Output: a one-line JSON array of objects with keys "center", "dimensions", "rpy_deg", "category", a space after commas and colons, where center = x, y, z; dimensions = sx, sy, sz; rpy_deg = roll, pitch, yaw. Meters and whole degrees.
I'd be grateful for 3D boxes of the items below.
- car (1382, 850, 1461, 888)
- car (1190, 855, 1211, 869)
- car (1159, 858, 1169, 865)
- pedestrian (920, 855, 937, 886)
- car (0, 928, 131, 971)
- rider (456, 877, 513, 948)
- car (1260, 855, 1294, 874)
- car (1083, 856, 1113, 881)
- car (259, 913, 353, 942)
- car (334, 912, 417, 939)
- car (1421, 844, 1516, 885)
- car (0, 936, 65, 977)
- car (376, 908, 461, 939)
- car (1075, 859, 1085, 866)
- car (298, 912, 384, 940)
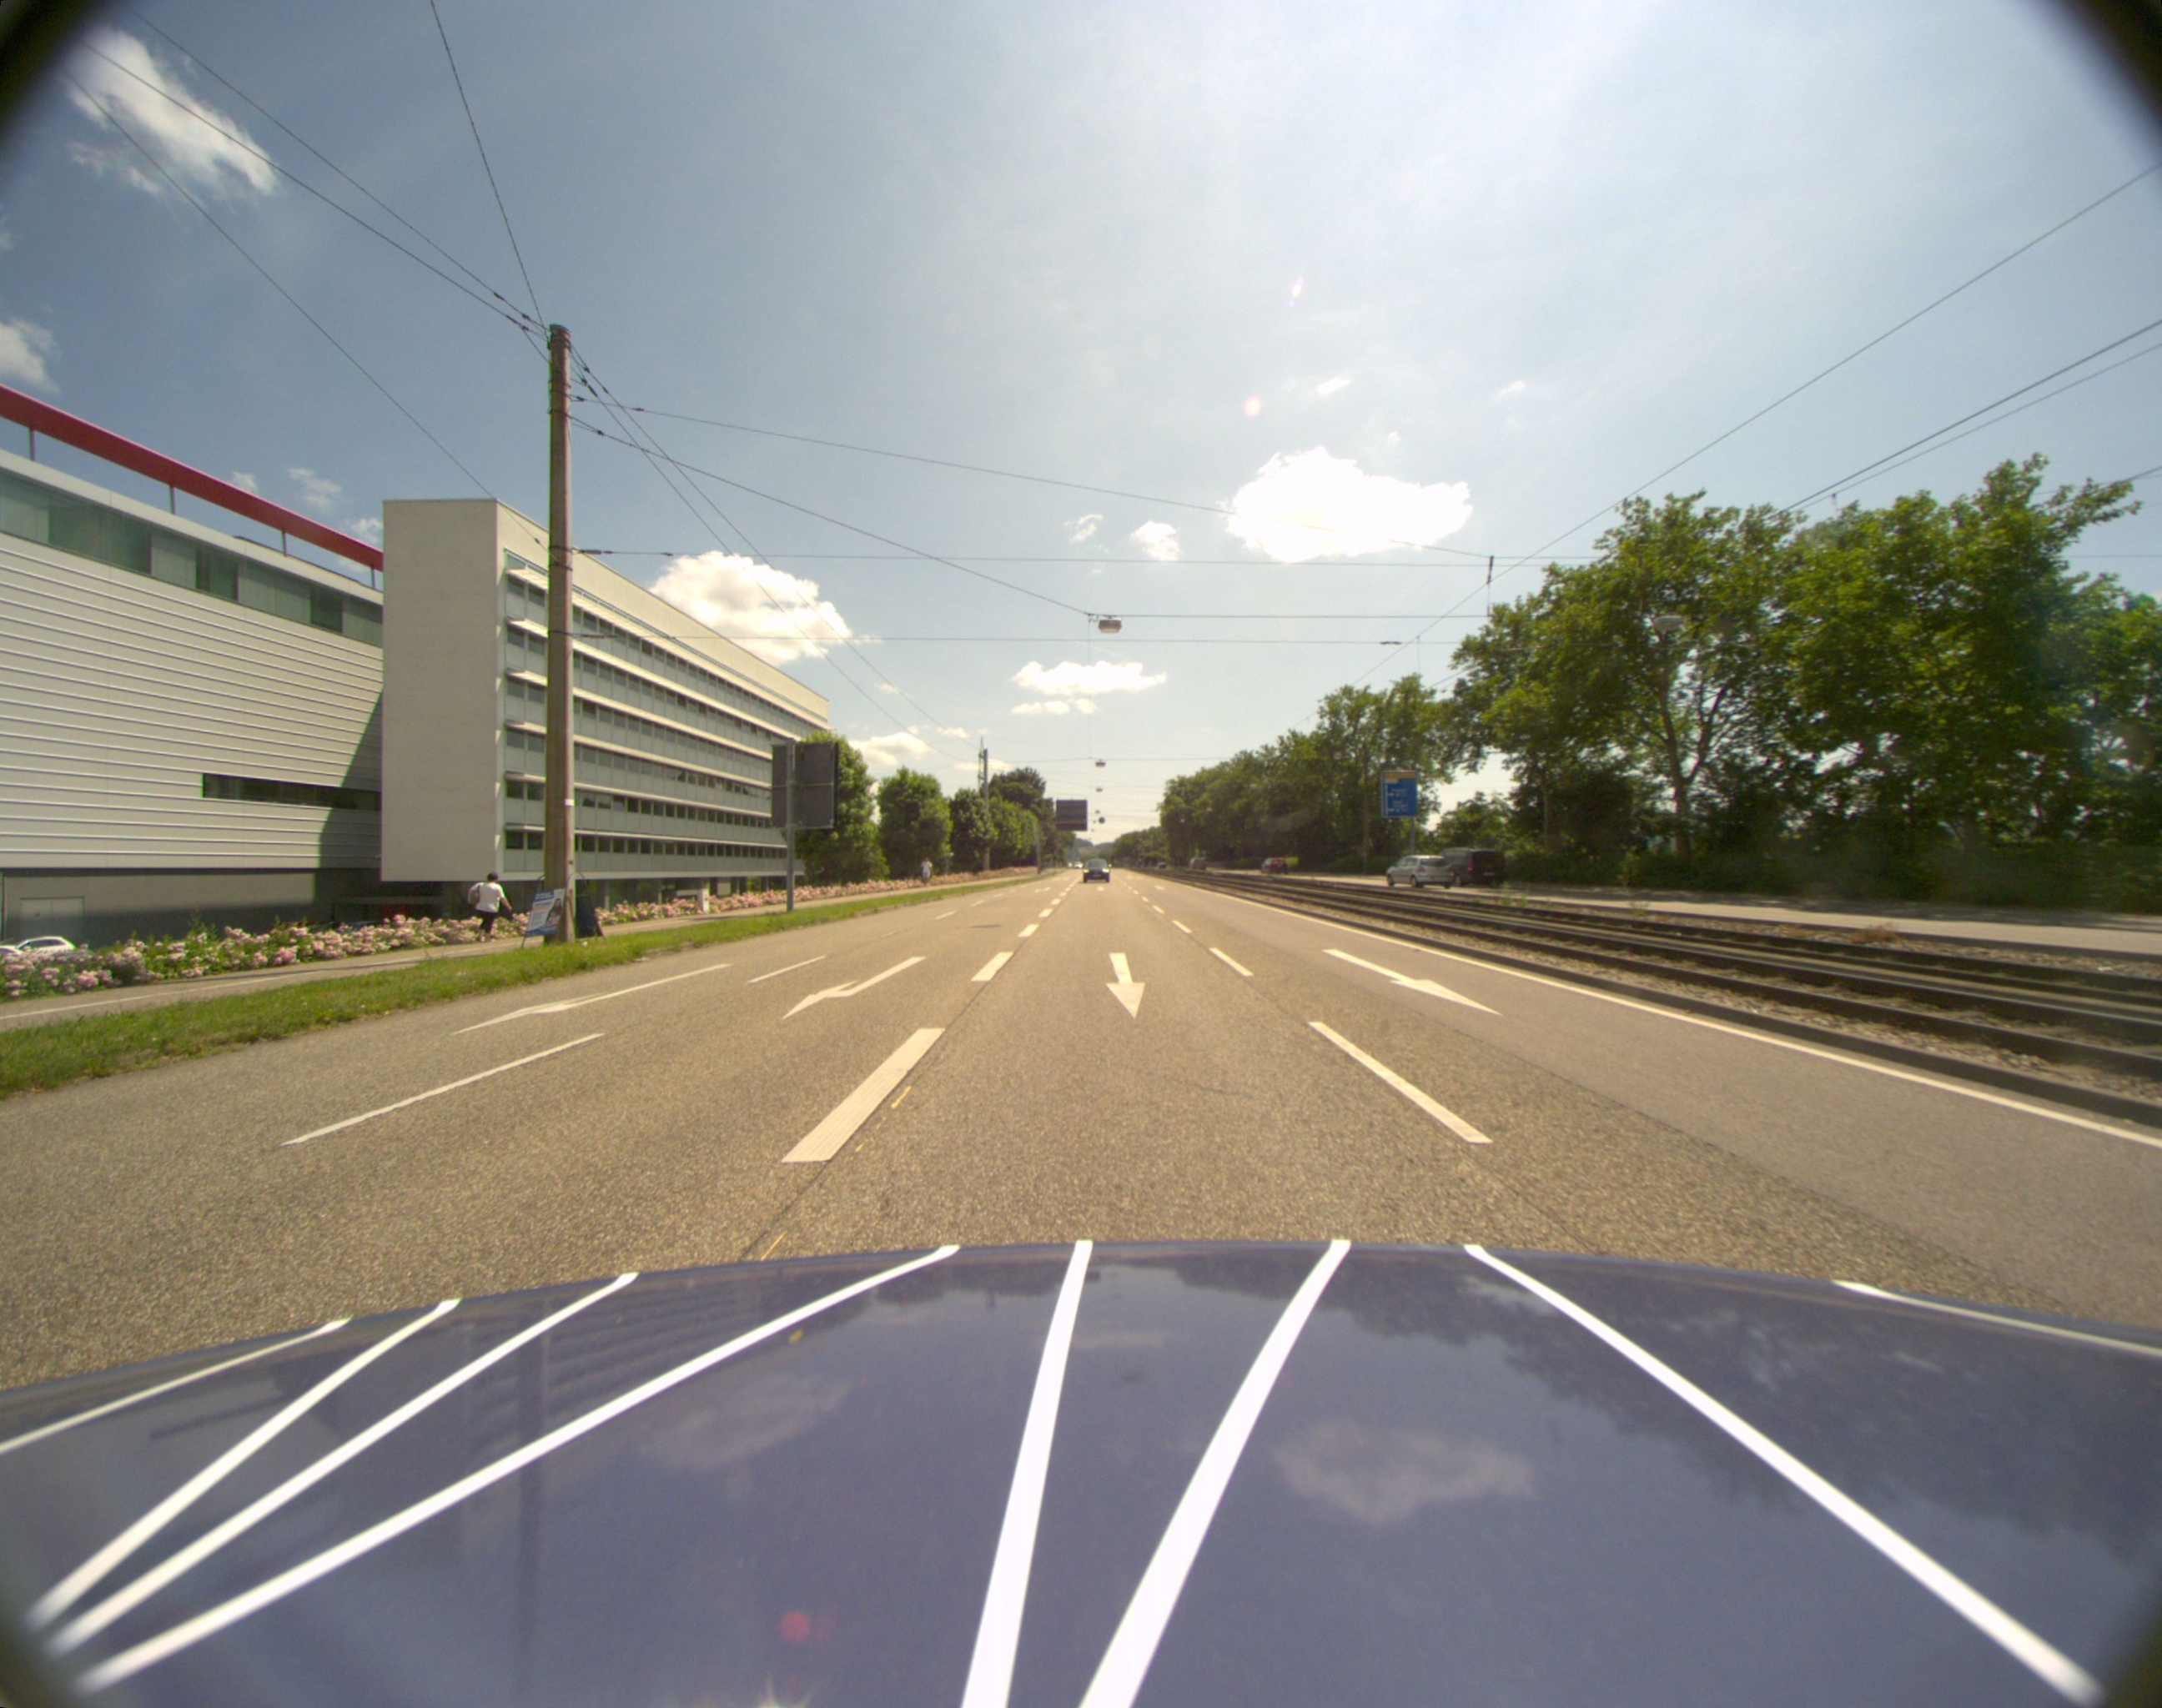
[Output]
[{"center": [15.268, 0.650, 34.294], "dimensions": [1.690, 1.574, 4.058], "rpy_deg": [2, 0, -1], "category": "car"}, {"center": [16.067, 1.033, 102.388], "dimensions": [1.999, 1.820, 4.969], "rpy_deg": [1, 0, -1], "category": "car"}, {"center": [19.291, 1.764, 176.984], "dimensions": [1.803, 1.495, 4.735], "rpy_deg": [1, 0, -1], "category": "car"}, {"center": [-9.312, 1.007, 46.384], "dimensions": [0.758, 1.838, 0.931], "rpy_deg": [-2, 1, 3], "category": "pedestrian"}, {"center": [-51.135, 4.750, 38.040], "dimensions": [1.998, 1.602, 4.000], "rpy_deg": [-2, 0, 1], "category": "car"}, {"center": [-12.770, 1.243, 16.287], "dimensions": [0.671, 1.449, 0.618], "rpy_deg": [-2, 1, 1], "category": "rider"}, {"center": [18.566, 0.988, 72.236], "dimensions": [1.999, 1.660, 4.468], "rpy_deg": [1, 0, -1], "category": "car"}, {"center": [1.157, 0.943, 52.107], "dimensions": [1.898, 1.564, 4.511], "rpy_deg": [-1, 0, 1], "category": "car"}, {"center": [-50.620, 4.750, 49.767], "dimensions": [1.998, 1.438, 4.000], "rpy_deg": [-2, 0, 1], "category": "car"}, {"center": [-45.852, 4.636, 49.478], "dimensions": [1.609, 1.314, 4.000], "rpy_deg": [-2, 0, 1], "category": "car"}, {"center": [18.818, 0.504, 37.197], "dimensions": [1.999, 1.820, 4.969], "rpy_deg": [1, 0, -1], "category": "car"}, {"center": [-48.577, 4.662, 32.975], "dimensions": [1.998, 1.602, 5.146], "rpy_deg": [-2, 0, 1], "category": "car"}, {"center": [-43.151, 4.477, 49.605], "dimensions": [1.998, 1.602, 4.000], "rpy_deg": [-2, 0, 1], "category": "car"}, {"center": [-0.221, 1.654, 154.121], "dimensions": [1.896, 1.331, 4.000], "rpy_deg": [-2, 0, 1], "category": "car"}, {"center": [-48.075, 4.669, 49.485], "dimensions": [1.648, 1.377, 4.000], "rpy_deg": [-2, 0, 1], "category": "car"}]
